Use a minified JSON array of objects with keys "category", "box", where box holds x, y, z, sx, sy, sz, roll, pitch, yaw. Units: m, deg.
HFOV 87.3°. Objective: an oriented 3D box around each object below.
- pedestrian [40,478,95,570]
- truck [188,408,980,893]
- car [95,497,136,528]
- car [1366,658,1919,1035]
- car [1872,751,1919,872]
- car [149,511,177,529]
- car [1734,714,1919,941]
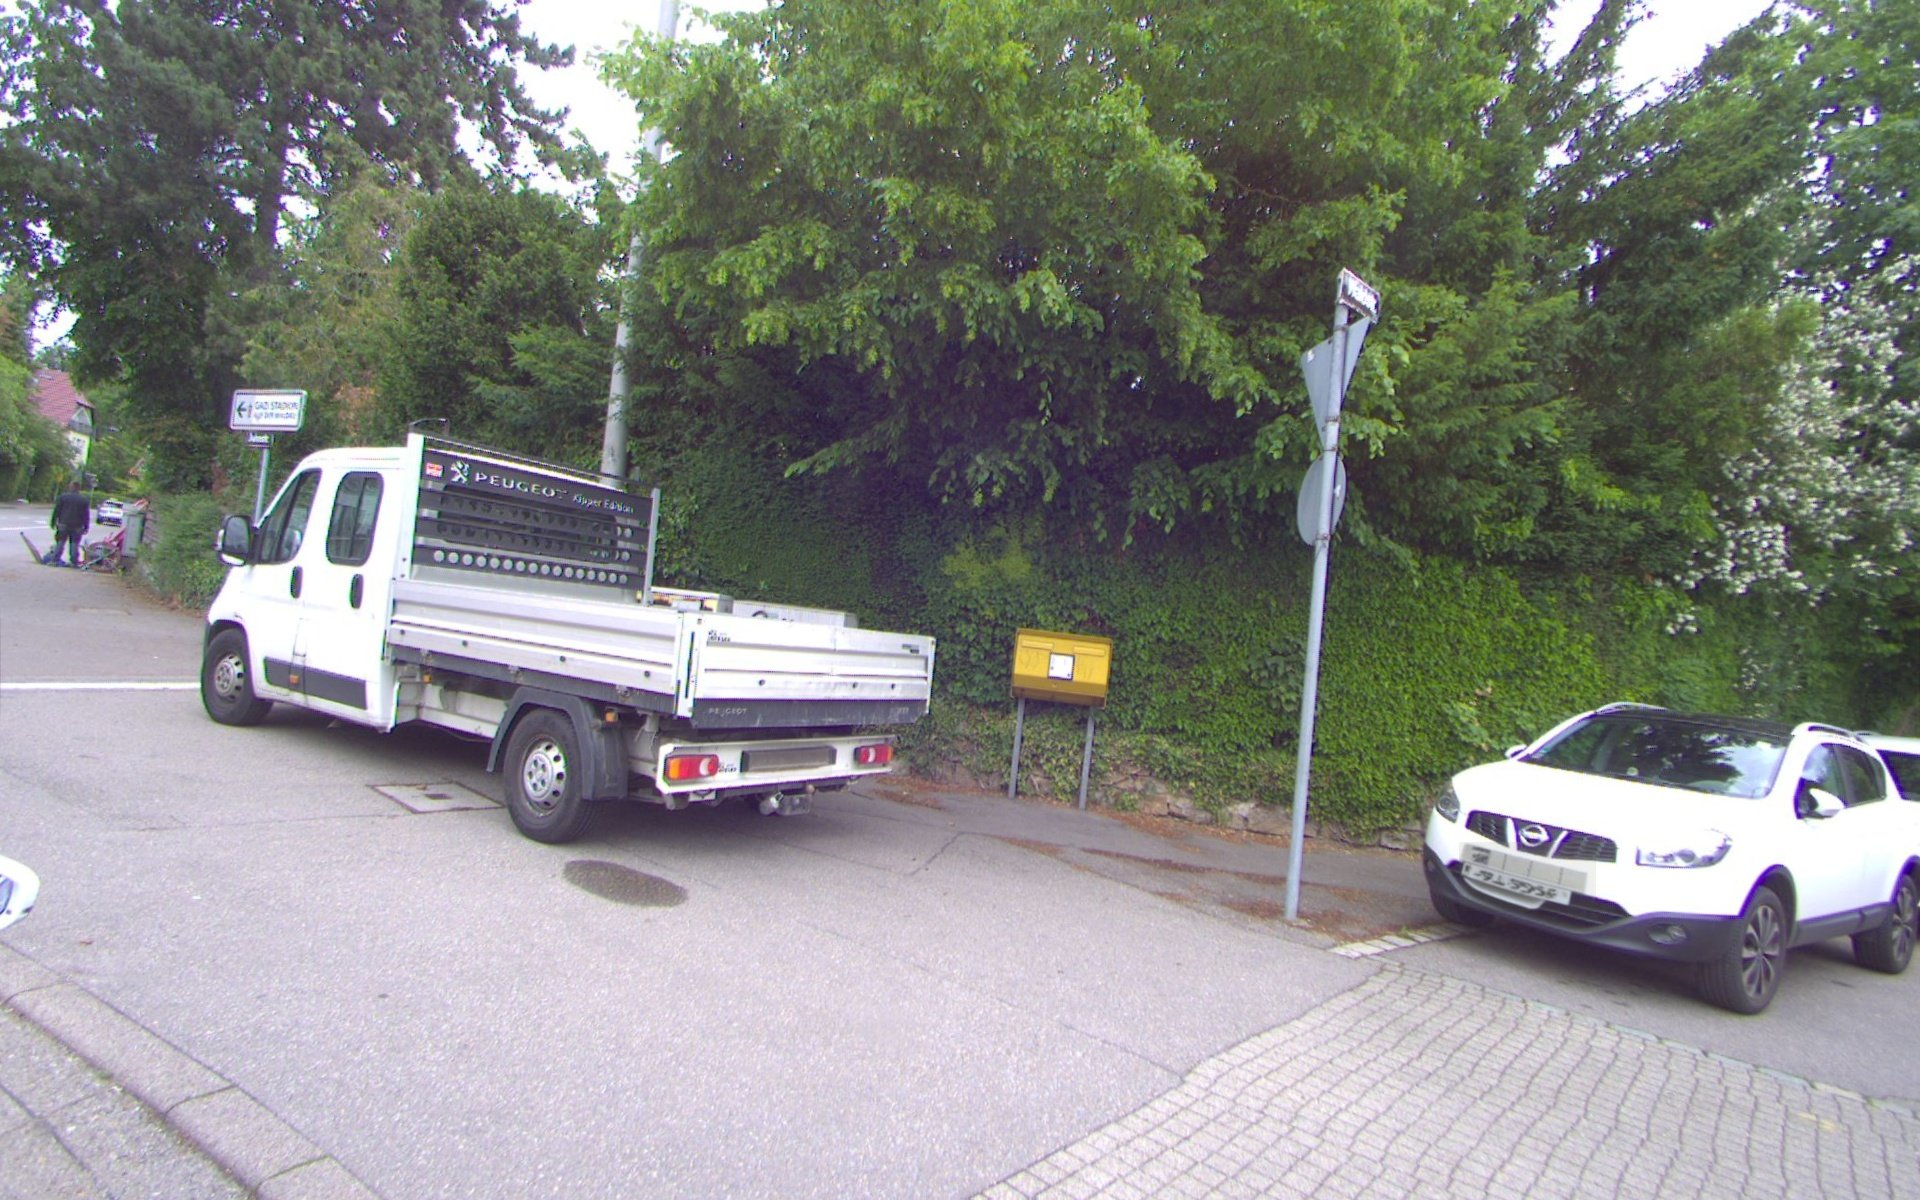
[{"category":"pedestrian","box":[-19.631,-1.666,22.136,0.549,1.929,0.597,7,-1,32]},{"category":"truck","box":[-2.927,0.088,7.166,5.631,2.270,2.211,6,-2,34]},{"category":"car","box":[-56.967,-5.882,67.905,1.798,1.775,4.441,7,0,-37]},{"category":"car","box":[4.773,1.473,6.660,4.098,1.641,1.783,9,-2,-34]},{"category":"car","box":[13.857,2.925,13.433,4.040,1.440,1.781,8,-2,-38]},{"category":"car","box":[-75.861,-7.568,95.840,1.683,1.448,3.714,7,0,-34]},{"category":"car","box":[9.052,2.120,9.473,4.041,1.641,1.781,9,-3,-38]}]
